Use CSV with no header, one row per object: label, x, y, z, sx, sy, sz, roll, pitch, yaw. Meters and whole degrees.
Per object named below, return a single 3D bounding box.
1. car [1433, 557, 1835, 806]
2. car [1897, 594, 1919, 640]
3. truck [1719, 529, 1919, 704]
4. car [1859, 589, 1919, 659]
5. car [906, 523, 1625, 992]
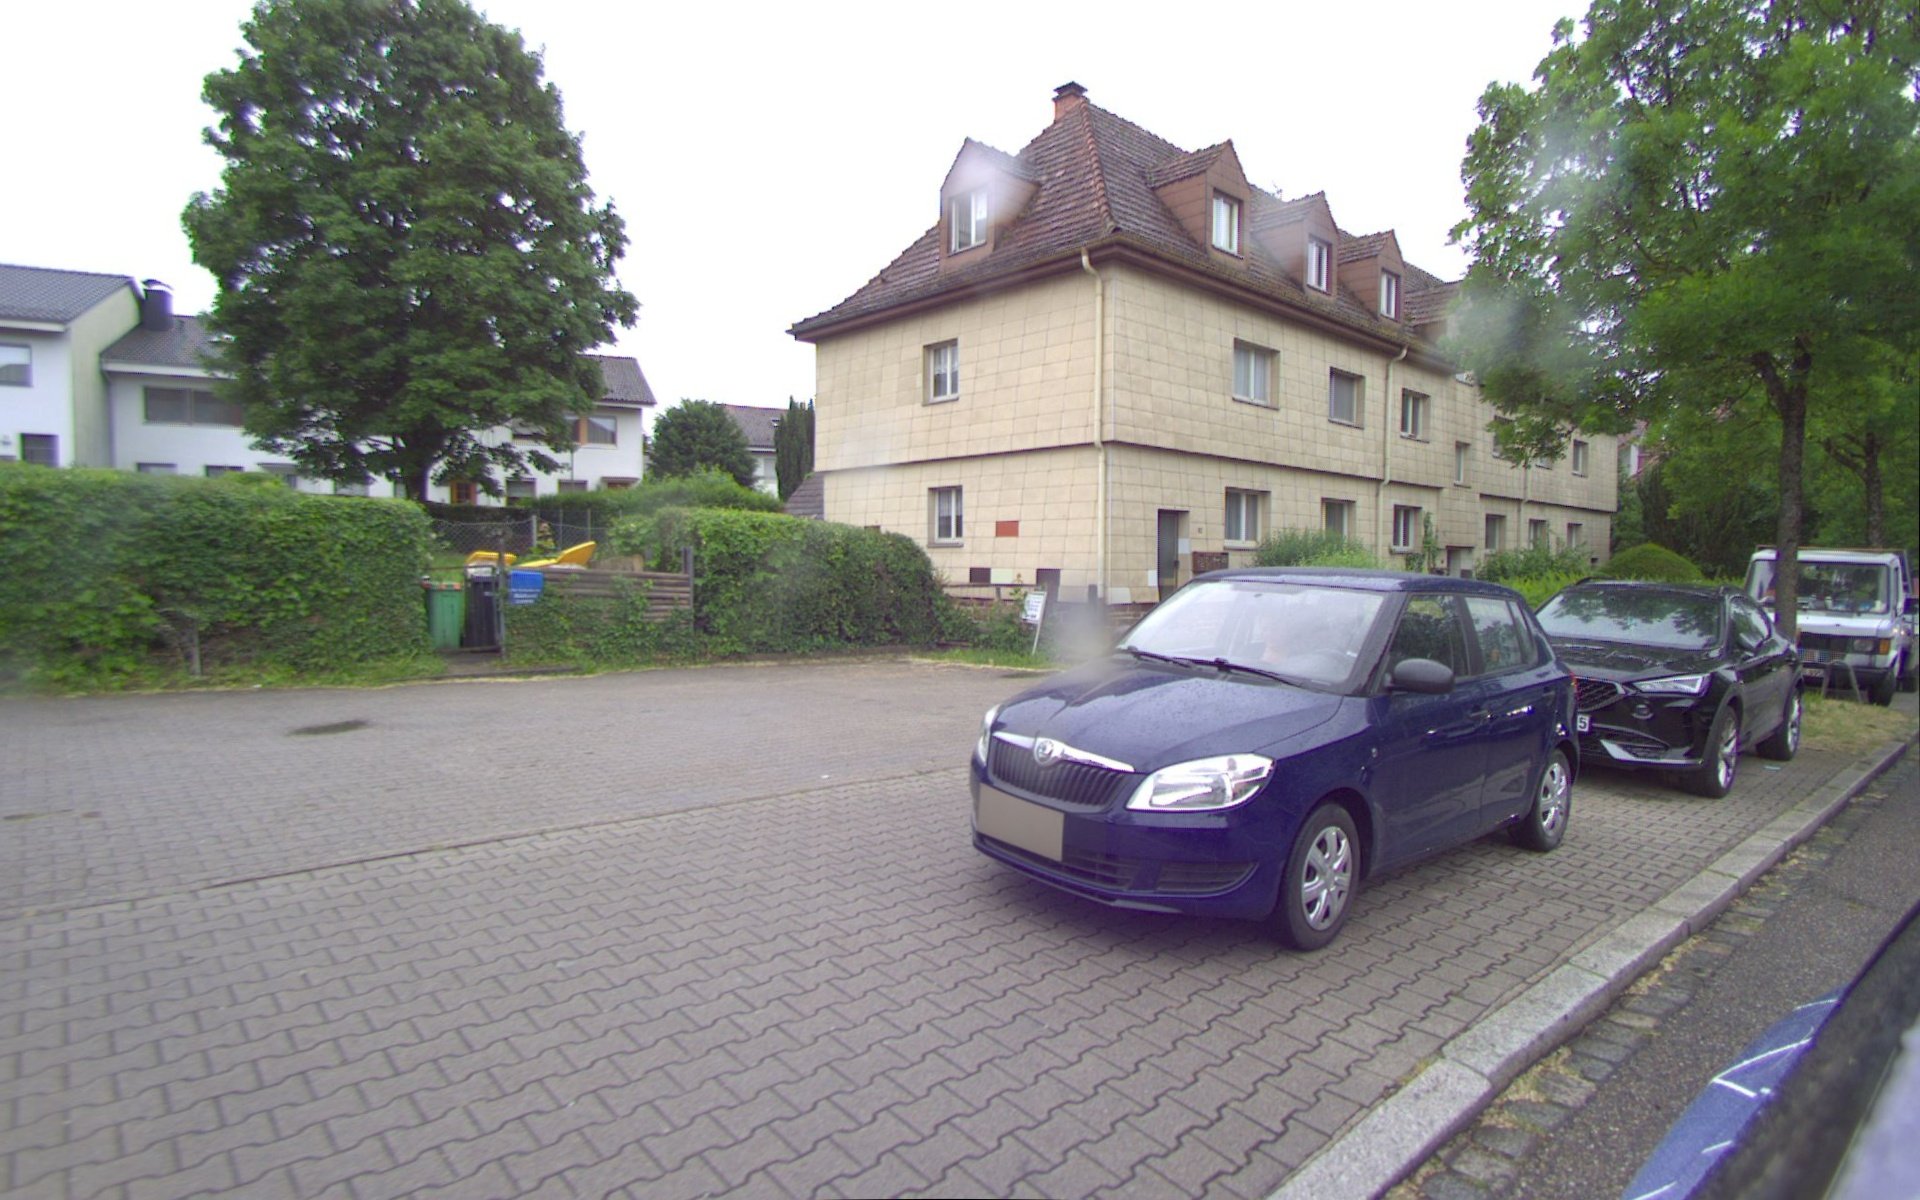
car,5.765,0.502,8.449,4.110,1.516,1.718,0,4,-41
car,31.909,0.574,32.936,4.423,1.406,1.691,0,3,-43
truck,14.238,0.178,16.231,6.391,2.248,2.084,0,4,-43
car,22.331,0.608,23.517,3.951,1.453,1.605,2,3,-41
car,1.750,0.484,5.119,3.788,1.489,1.609,1,4,-40
